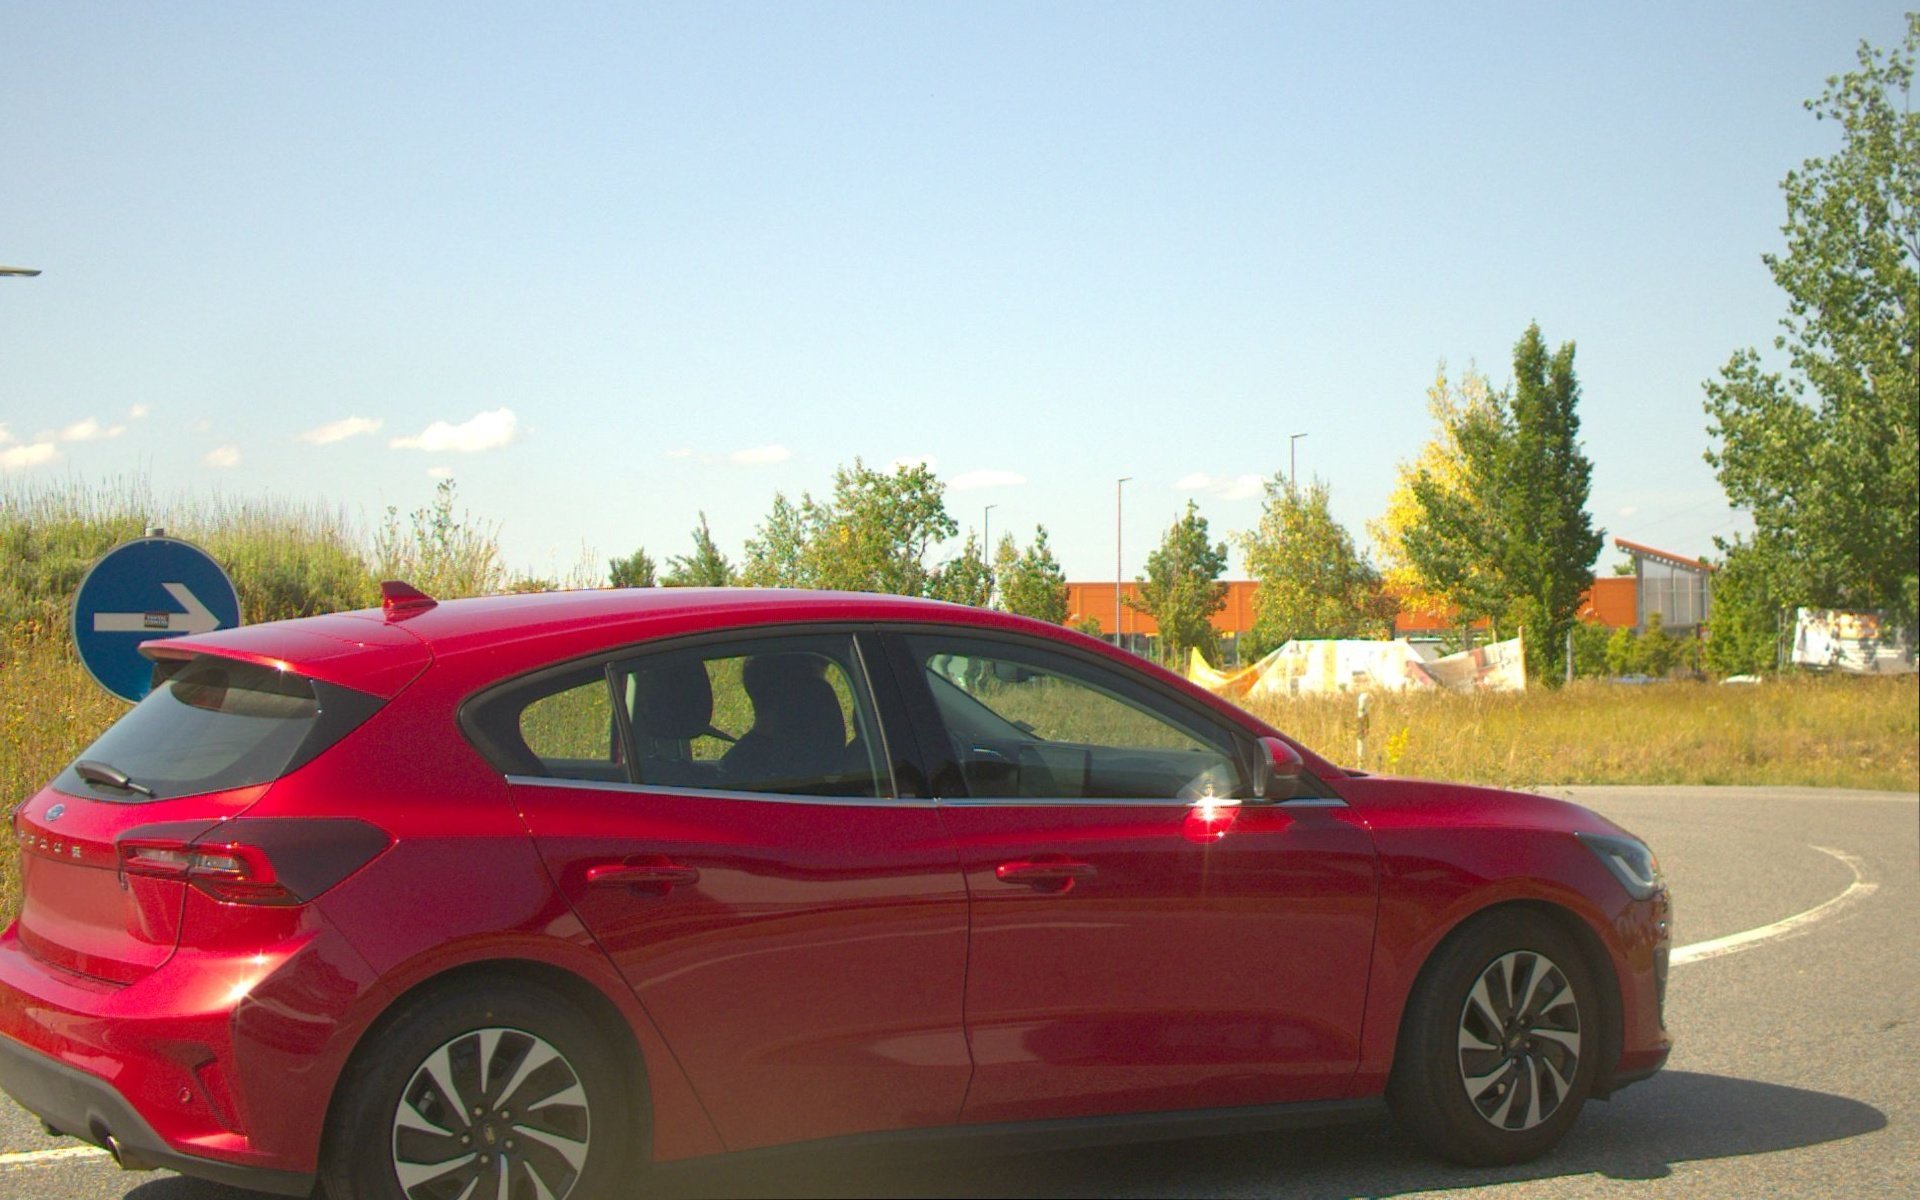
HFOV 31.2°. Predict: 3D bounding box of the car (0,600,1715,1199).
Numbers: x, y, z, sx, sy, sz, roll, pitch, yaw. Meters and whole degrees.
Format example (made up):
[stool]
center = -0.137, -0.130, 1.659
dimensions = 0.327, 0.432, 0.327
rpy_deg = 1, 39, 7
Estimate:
[car]
center = -0.343, 0.721, 8.438
dimensions = 4.103, 1.411, 1.808
rpy_deg = 0, 0, -29
